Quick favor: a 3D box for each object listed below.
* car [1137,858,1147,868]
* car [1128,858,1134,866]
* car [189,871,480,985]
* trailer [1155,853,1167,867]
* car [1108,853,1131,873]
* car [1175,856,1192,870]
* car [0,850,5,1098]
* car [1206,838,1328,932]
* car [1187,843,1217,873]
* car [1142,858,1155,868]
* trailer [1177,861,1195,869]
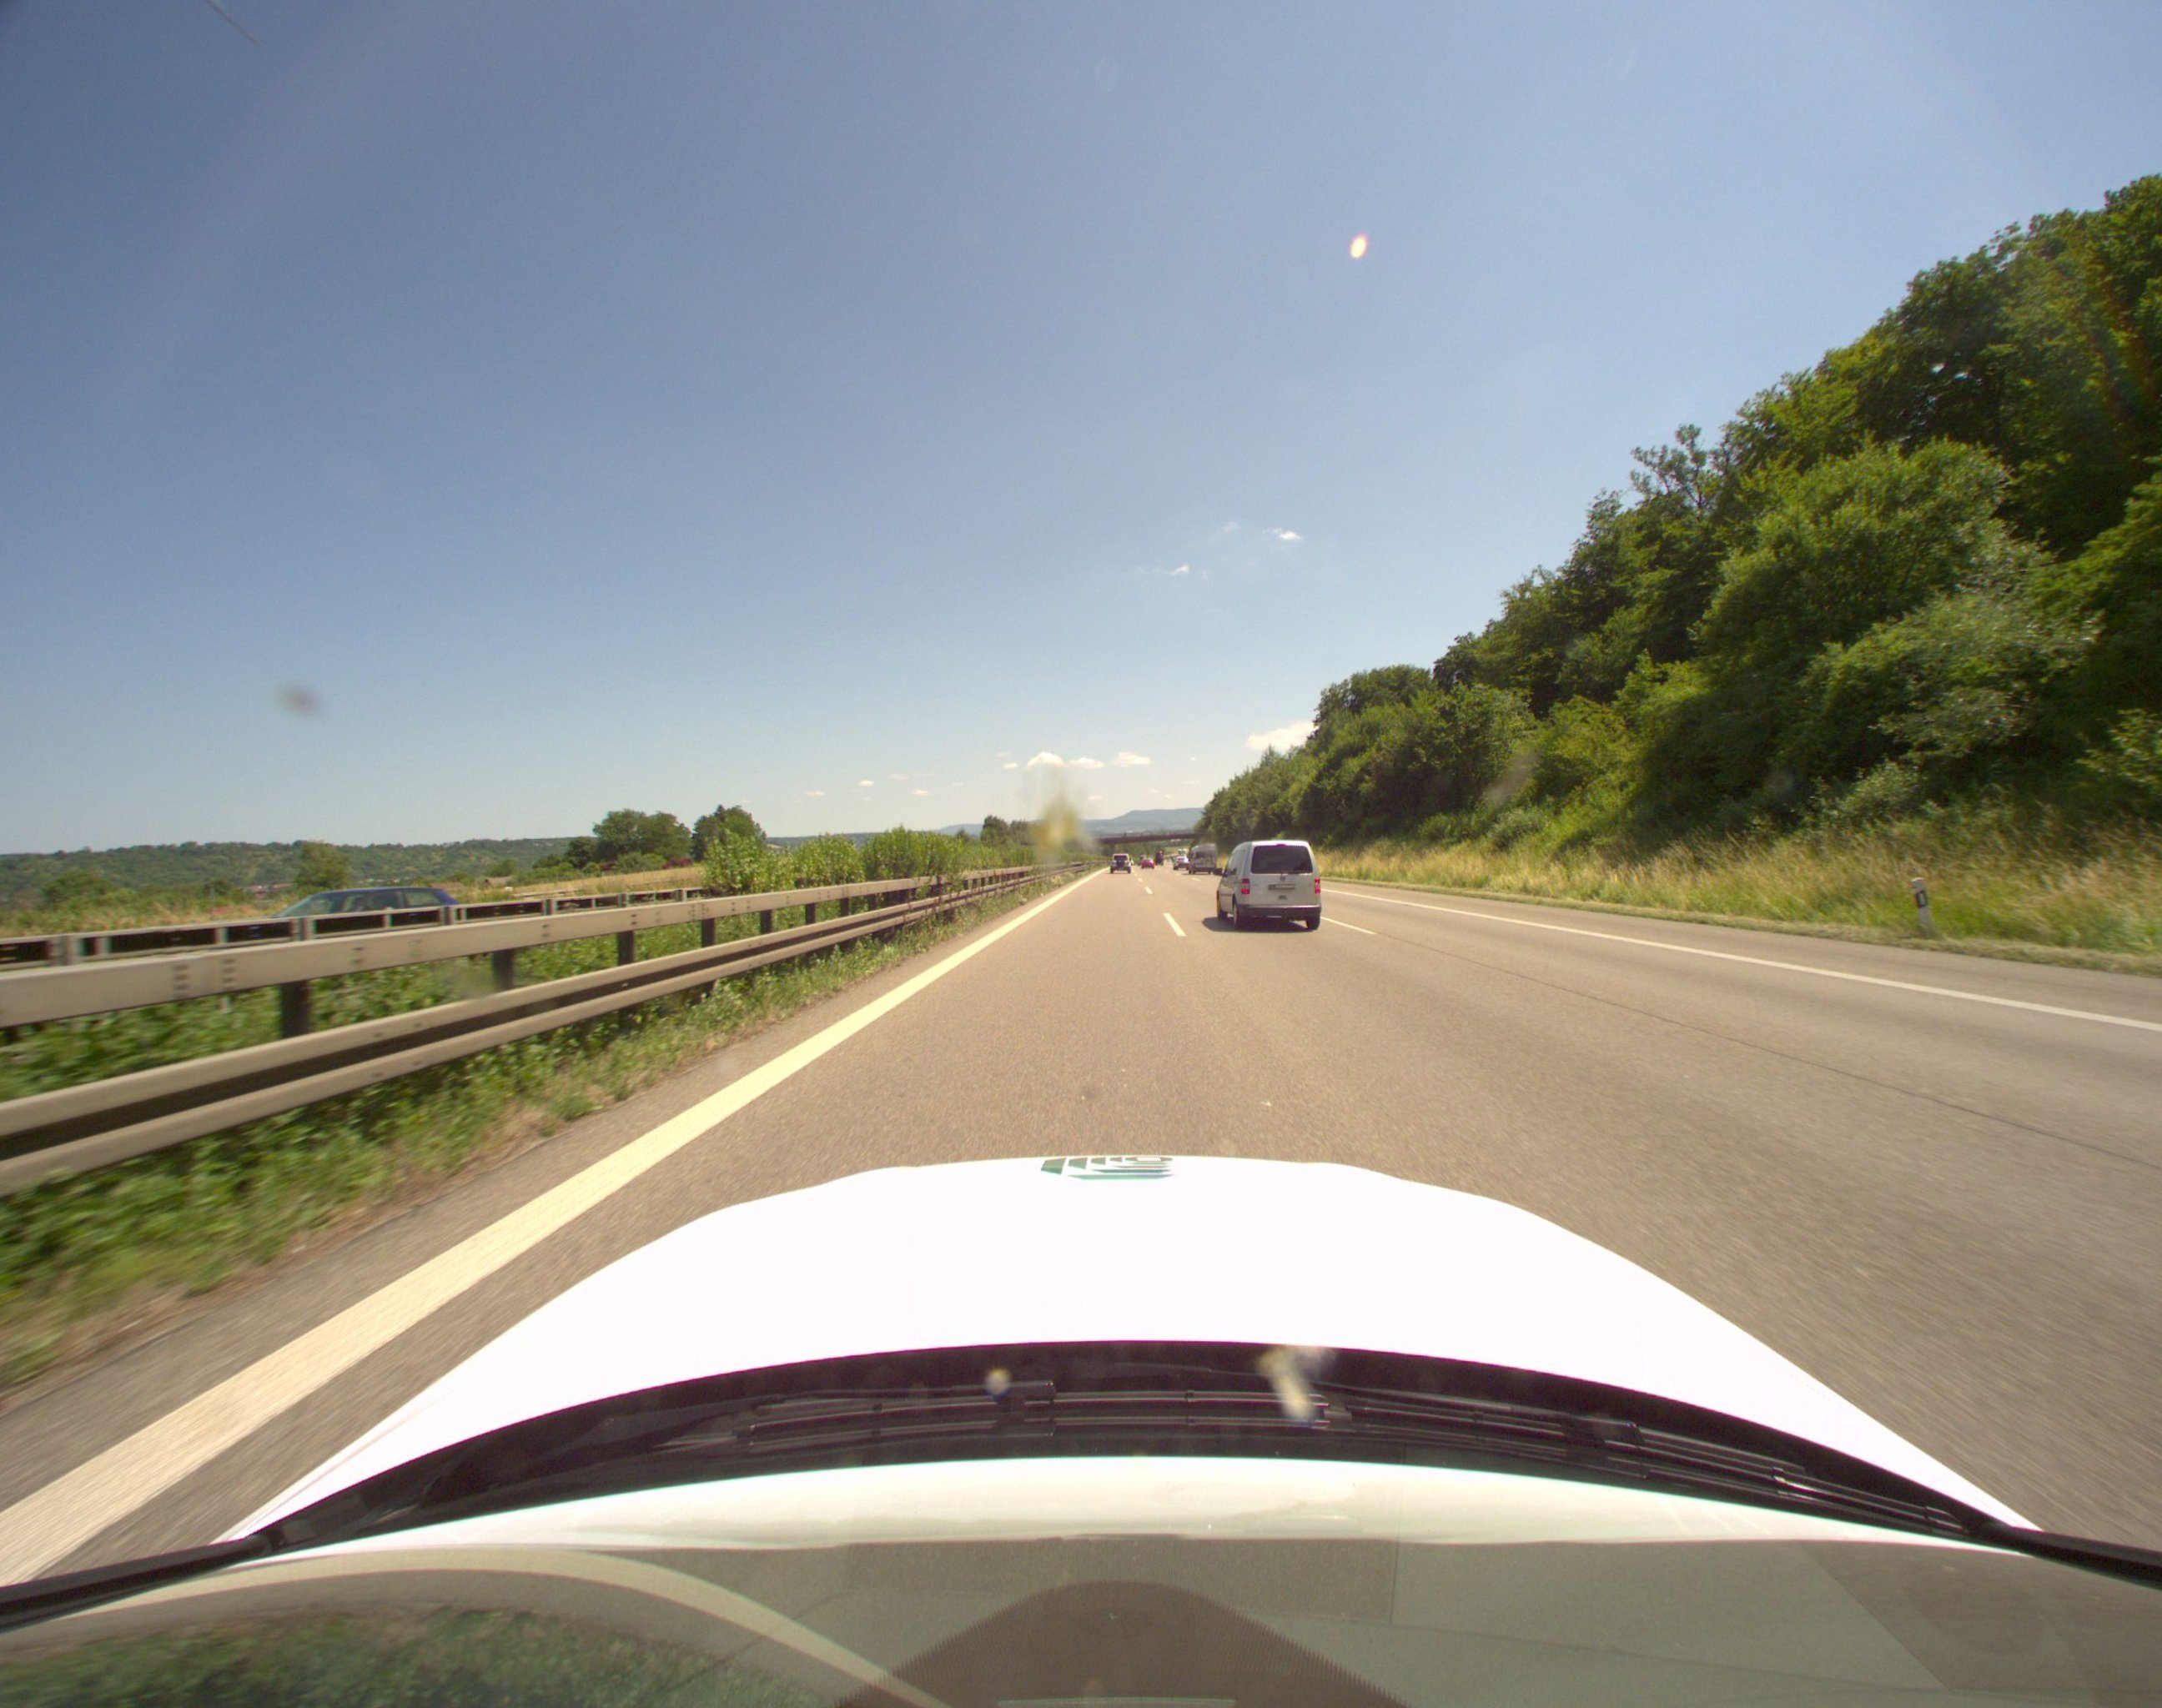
[{"bbox_3d":[12.782,1.893,170.273,1.985,2.013,4.003,0,0,3],"label":"car"},{"bbox_3d":[13.499,2.245,219.785,1.690,2.013,3.826,0,0,4],"label":"car"},{"bbox_3d":[-13.427,1.223,15.025,1.553,1.599,3.913,-5,0,2],"label":"car"},{"bbox_3d":[23.831,1.717,243.027,2.839,3.993,15.431,0,0,8],"label":"trailer"},{"bbox_3d":[3.733,0.841,78.545,2.074,1.829,4.759,0,0,4],"label":"car"},{"bbox_3d":[12.815,1.161,102.255,1.774,1.650,4.406,0,0,2],"label":"car"},{"bbox_3d":[-9.825,0.993,3.978,1.898,2.013,5.368,0,0,2],"label":"car"},{"bbox_3d":[4.023,0.595,18.377,1.739,1.829,4.802,0,0,1],"label":"car"},{"bbox_3d":[10.903,0.325,73.741,2.080,2.576,6.629,0,0,4],"label":"car"},{"bbox_3d":[9.517,1.306,115.531,1.679,1.379,3.952,0,0,3],"label":"car"},{"bbox_3d":[12.624,1.292,97.887,1.747,0.908,4.322,0,0,3],"label":"trailer"}]
